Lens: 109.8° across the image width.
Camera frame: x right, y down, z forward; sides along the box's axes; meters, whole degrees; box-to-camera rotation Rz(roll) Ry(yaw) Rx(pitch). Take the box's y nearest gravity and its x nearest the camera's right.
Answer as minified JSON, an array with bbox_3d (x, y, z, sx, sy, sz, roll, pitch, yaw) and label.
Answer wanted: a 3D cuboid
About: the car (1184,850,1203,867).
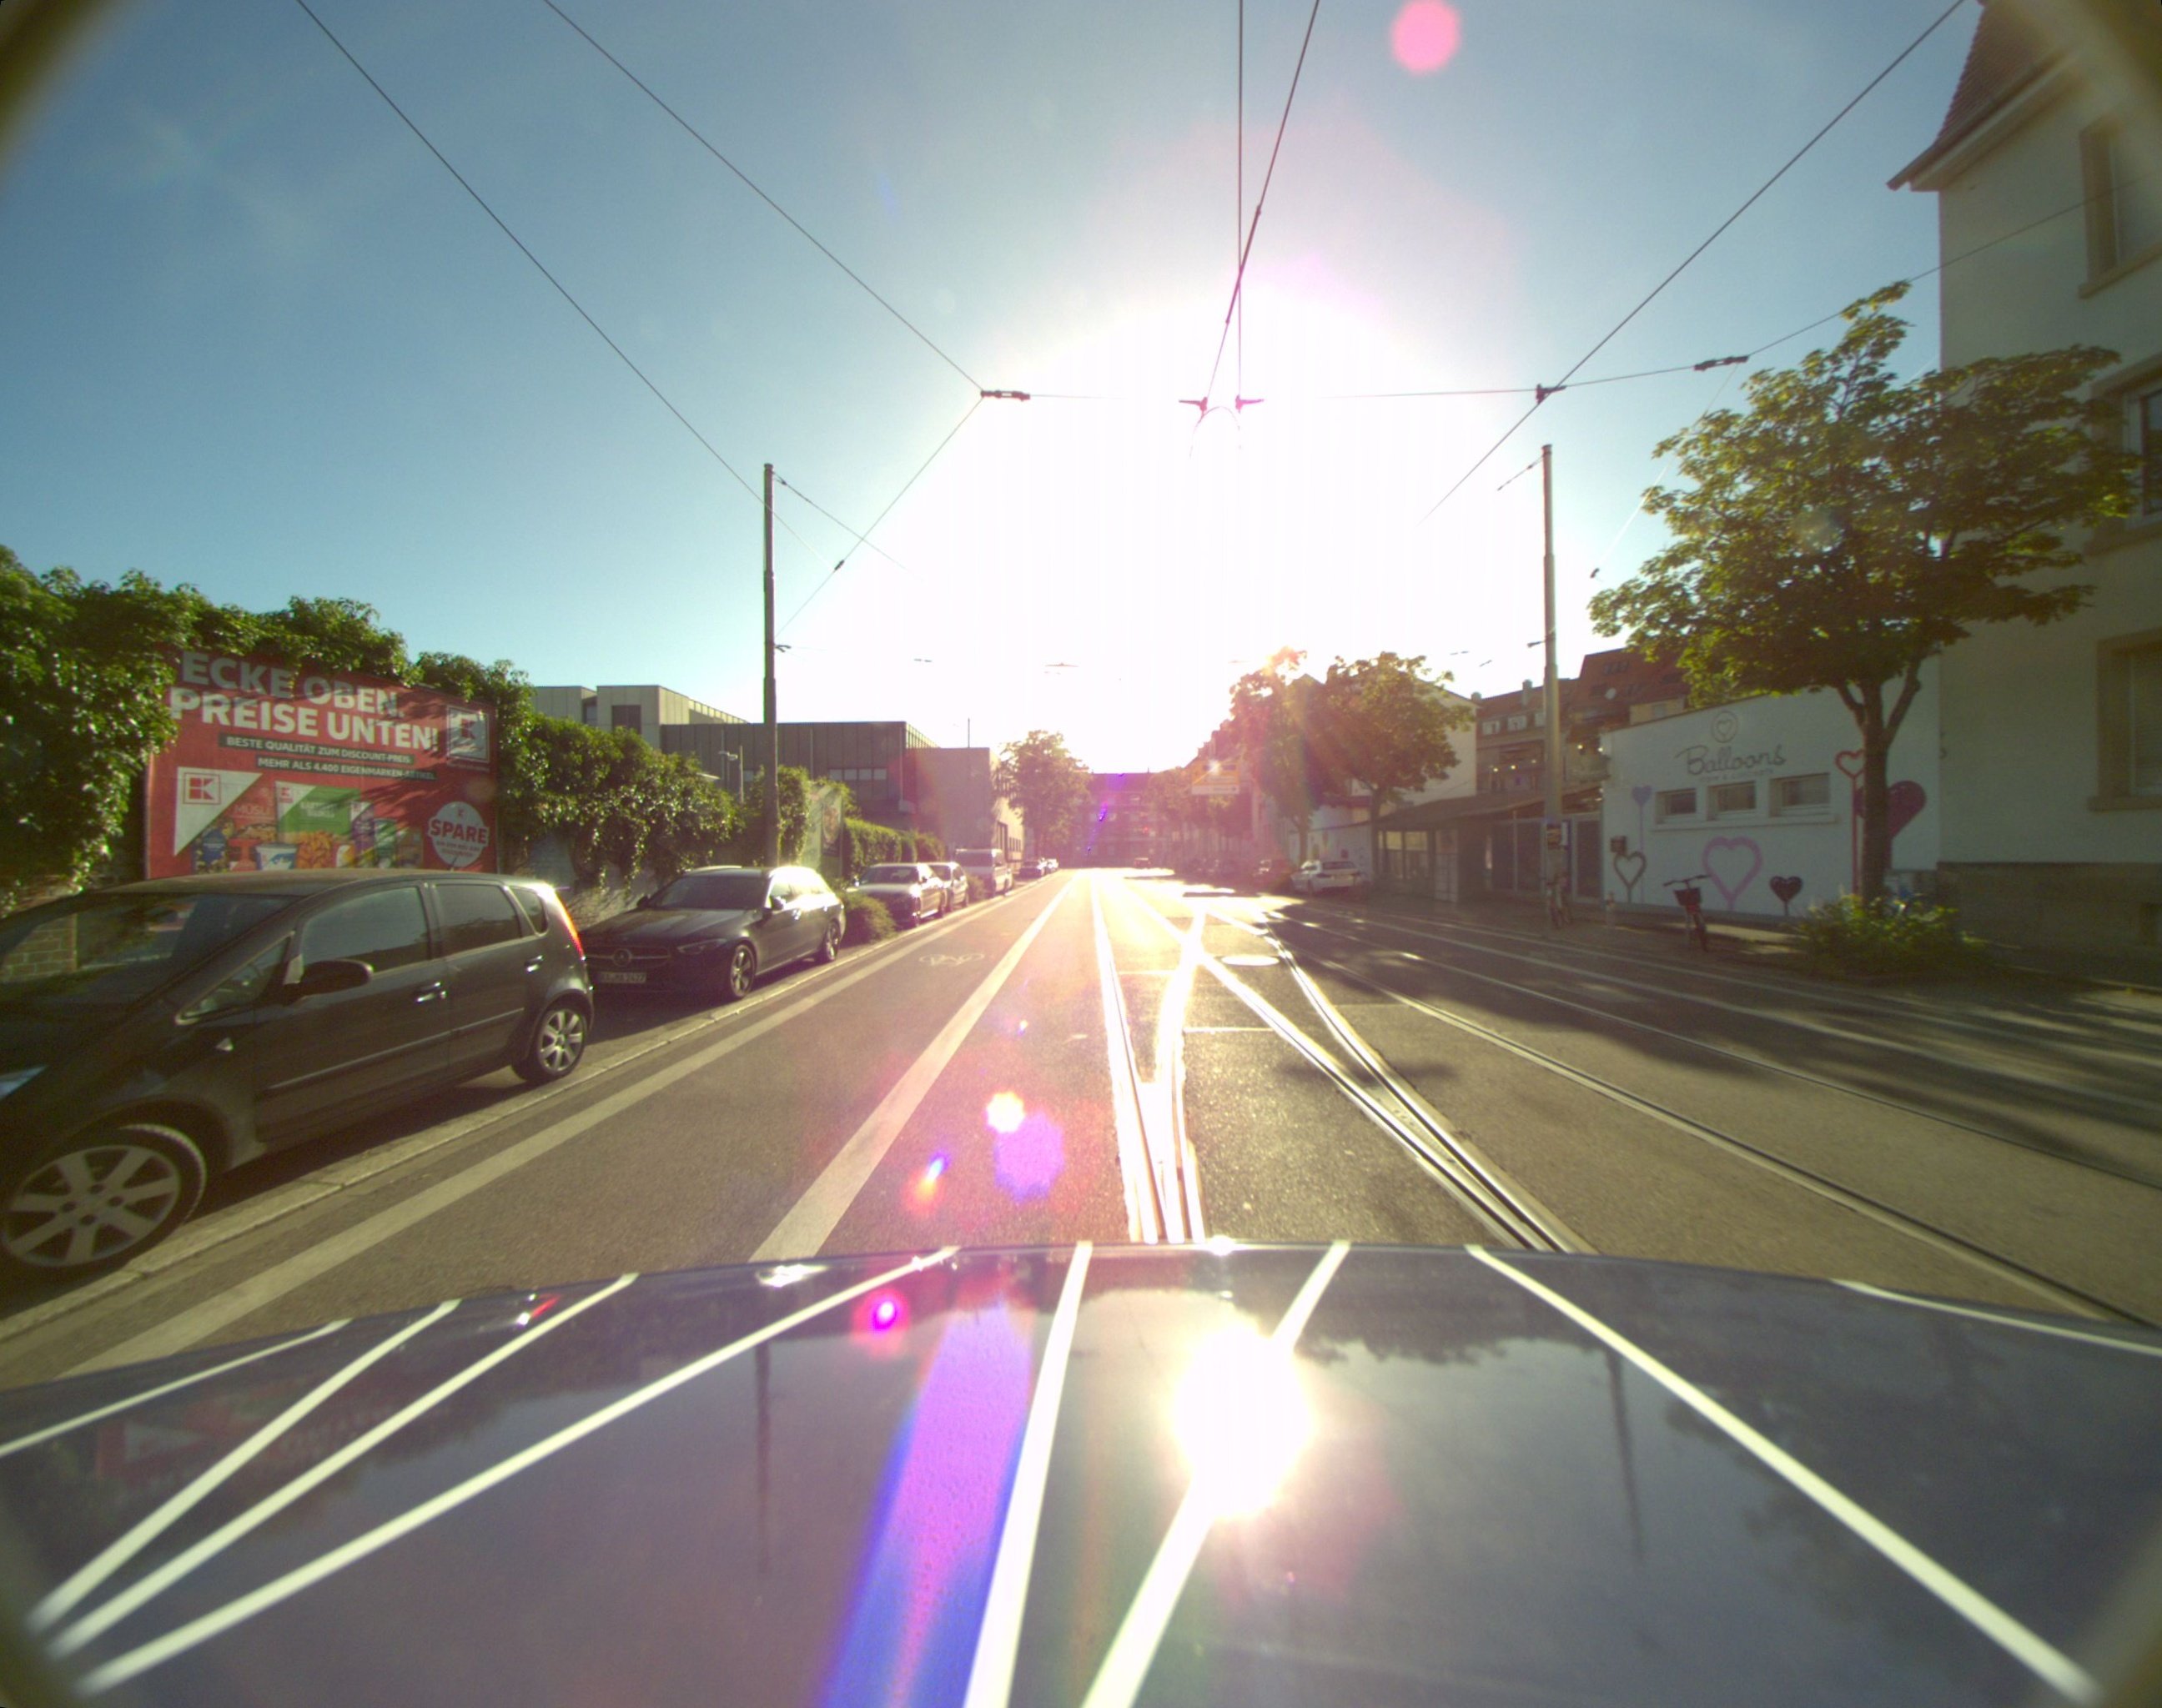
[{"bbox_3d":[10.467,0.456,70.920,1.358,1.493,2.548,-2,-2,1],"label":"car"}]

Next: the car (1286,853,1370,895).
[{"bbox_3d":[9.833,0.756,30.645,1.869,1.482,4.661,-2,1,1],"label":"car"}]

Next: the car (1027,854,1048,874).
[{"bbox_3d":[-3.886,0.899,68.578,1.746,1.702,4.276,-1,1,-2],"label":"car"}]

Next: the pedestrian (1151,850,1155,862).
[{"bbox_3d":[10.766,0.320,113.656,0.640,1.764,0.583,-2,1,1],"label":"pedestrian"}]

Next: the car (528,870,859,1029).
[{"bbox_3d":[-4.547,1.003,9.903,1.828,1.444,4.642,-1,0,1],"label":"car"}]

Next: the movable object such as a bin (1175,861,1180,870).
[{"bbox_3d":[10.376,1.224,81.496,0.425,0.930,0.582,-2,1,1],"label":"movable object such as a bin"}]

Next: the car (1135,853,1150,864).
[{"bbox_3d":[8.929,0.593,110.255,1.923,1.516,4.000,-2,1,1],"label":"car"}]

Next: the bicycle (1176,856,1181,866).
[{"bbox_3d":[10.285,0.767,80.275,0.303,1.036,1.661,-2,1,1],"label":"bicycle"}]

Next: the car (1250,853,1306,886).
[{"bbox_3d":[9.910,0.731,38.561,1.777,1.477,4.305,-2,1,1],"label":"car"}]

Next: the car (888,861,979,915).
[{"bbox_3d":[-4.556,1.006,24.134,1.877,1.464,4.075,-2,1,3],"label":"car"}]

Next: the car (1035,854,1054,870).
[{"bbox_3d":[-3.634,0.800,76.371,1.716,1.481,4.623,0,0,1],"label":"car"}]

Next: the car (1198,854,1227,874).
[{"bbox_3d":[10.265,0.763,59.629,1.576,1.496,4.000,-2,1,1],"label":"car"}]

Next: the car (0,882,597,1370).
[{"bbox_3d":[-4.604,0.987,3.907,1.829,1.484,3.814,1,0,-1],"label":"car"}]

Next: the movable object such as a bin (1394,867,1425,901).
[{"bbox_3d":[10.163,0.926,23.536,0.583,0.954,0.702,-6,1,1],"label":"movable object such as a bin"}]

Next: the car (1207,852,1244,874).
[{"bbox_3d":[10.144,0.590,53.634,1.878,1.420,4.293,-2,1,1],"label":"car"}]

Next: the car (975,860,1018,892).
[{"bbox_3d":[-4.131,1.044,37.812,1.680,1.409,4.501,1,0,-1],"label":"car"}]

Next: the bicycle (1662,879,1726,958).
[{"bbox_3d":[9.501,0.948,11.747,1.991,1.034,0.531,-2,1,-45],"label":"bicycle"}]

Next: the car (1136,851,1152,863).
[{"bbox_3d":[8.396,0.405,101.871,1.770,1.455,4.746,0,1,0],"label":"car"}]

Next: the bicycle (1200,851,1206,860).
[{"bbox_3d":[13.108,0.151,81.585,0.303,1.036,1.661,-2,1,1],"label":"bicycle"}]

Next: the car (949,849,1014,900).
[{"bbox_3d":[-4.130,0.803,32.354,1.858,1.980,5.242,0,1,3],"label":"car"}]

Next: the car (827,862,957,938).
[{"bbox_3d":[-4.419,1.011,18.529,1.828,1.476,4.601,-2,1,2],"label":"car"}]

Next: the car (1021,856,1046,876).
[{"bbox_3d":[-3.881,0.965,63.001,1.706,1.473,4.658,2,1,1],"label":"car"}]

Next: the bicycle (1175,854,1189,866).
[{"bbox_3d":[10.338,0.648,78.079,1.344,1.162,0.409,-2,1,1],"label":"bicycle"}]

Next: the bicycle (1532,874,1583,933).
[{"bbox_3d":[9.705,0.976,15.440,0.667,1.034,1.790,-1,1,38],"label":"bicycle"}]
